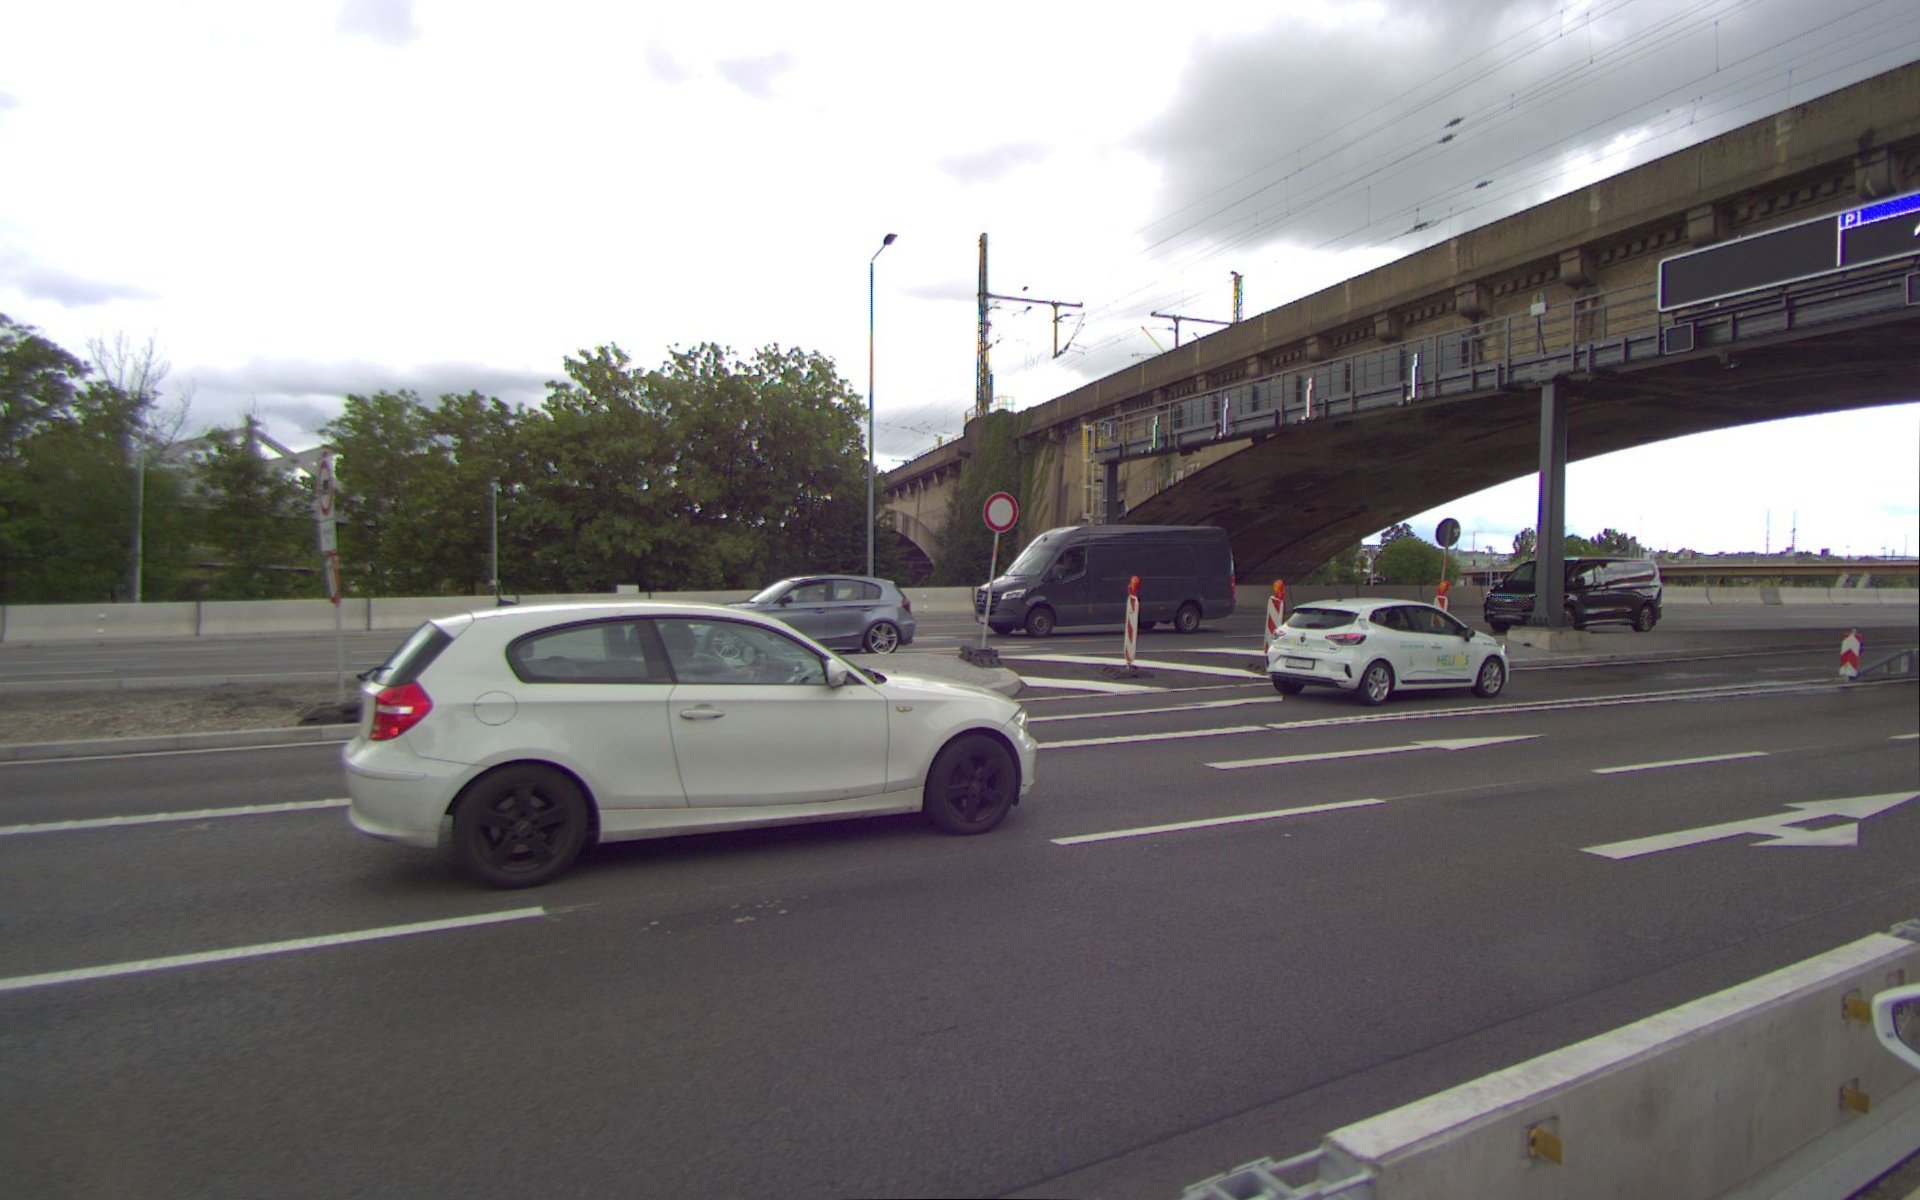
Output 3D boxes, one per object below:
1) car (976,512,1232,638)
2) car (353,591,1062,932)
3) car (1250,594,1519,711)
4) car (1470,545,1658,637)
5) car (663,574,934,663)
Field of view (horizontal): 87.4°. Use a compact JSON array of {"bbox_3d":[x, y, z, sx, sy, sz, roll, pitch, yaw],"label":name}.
[{"bbox_3d":[3.593,-0.592,24.765,6.064,2.814,2.207,0,2,-27],"label":"car"},{"bbox_3d":[-1.436,0.723,6.272,3.934,1.452,1.630,-2,3,-30],"label":"car"},{"bbox_3d":[6.313,0.686,14.857,3.949,1.504,1.569,0,2,-29],"label":"car"},{"bbox_3d":[16.407,-0.334,27.242,5.122,2.041,1.954,-4,6,-27],"label":"car"},{"bbox_3d":[-2.732,0.261,17.104,4.203,1.349,1.878,0,1,-28],"label":"car"}]
